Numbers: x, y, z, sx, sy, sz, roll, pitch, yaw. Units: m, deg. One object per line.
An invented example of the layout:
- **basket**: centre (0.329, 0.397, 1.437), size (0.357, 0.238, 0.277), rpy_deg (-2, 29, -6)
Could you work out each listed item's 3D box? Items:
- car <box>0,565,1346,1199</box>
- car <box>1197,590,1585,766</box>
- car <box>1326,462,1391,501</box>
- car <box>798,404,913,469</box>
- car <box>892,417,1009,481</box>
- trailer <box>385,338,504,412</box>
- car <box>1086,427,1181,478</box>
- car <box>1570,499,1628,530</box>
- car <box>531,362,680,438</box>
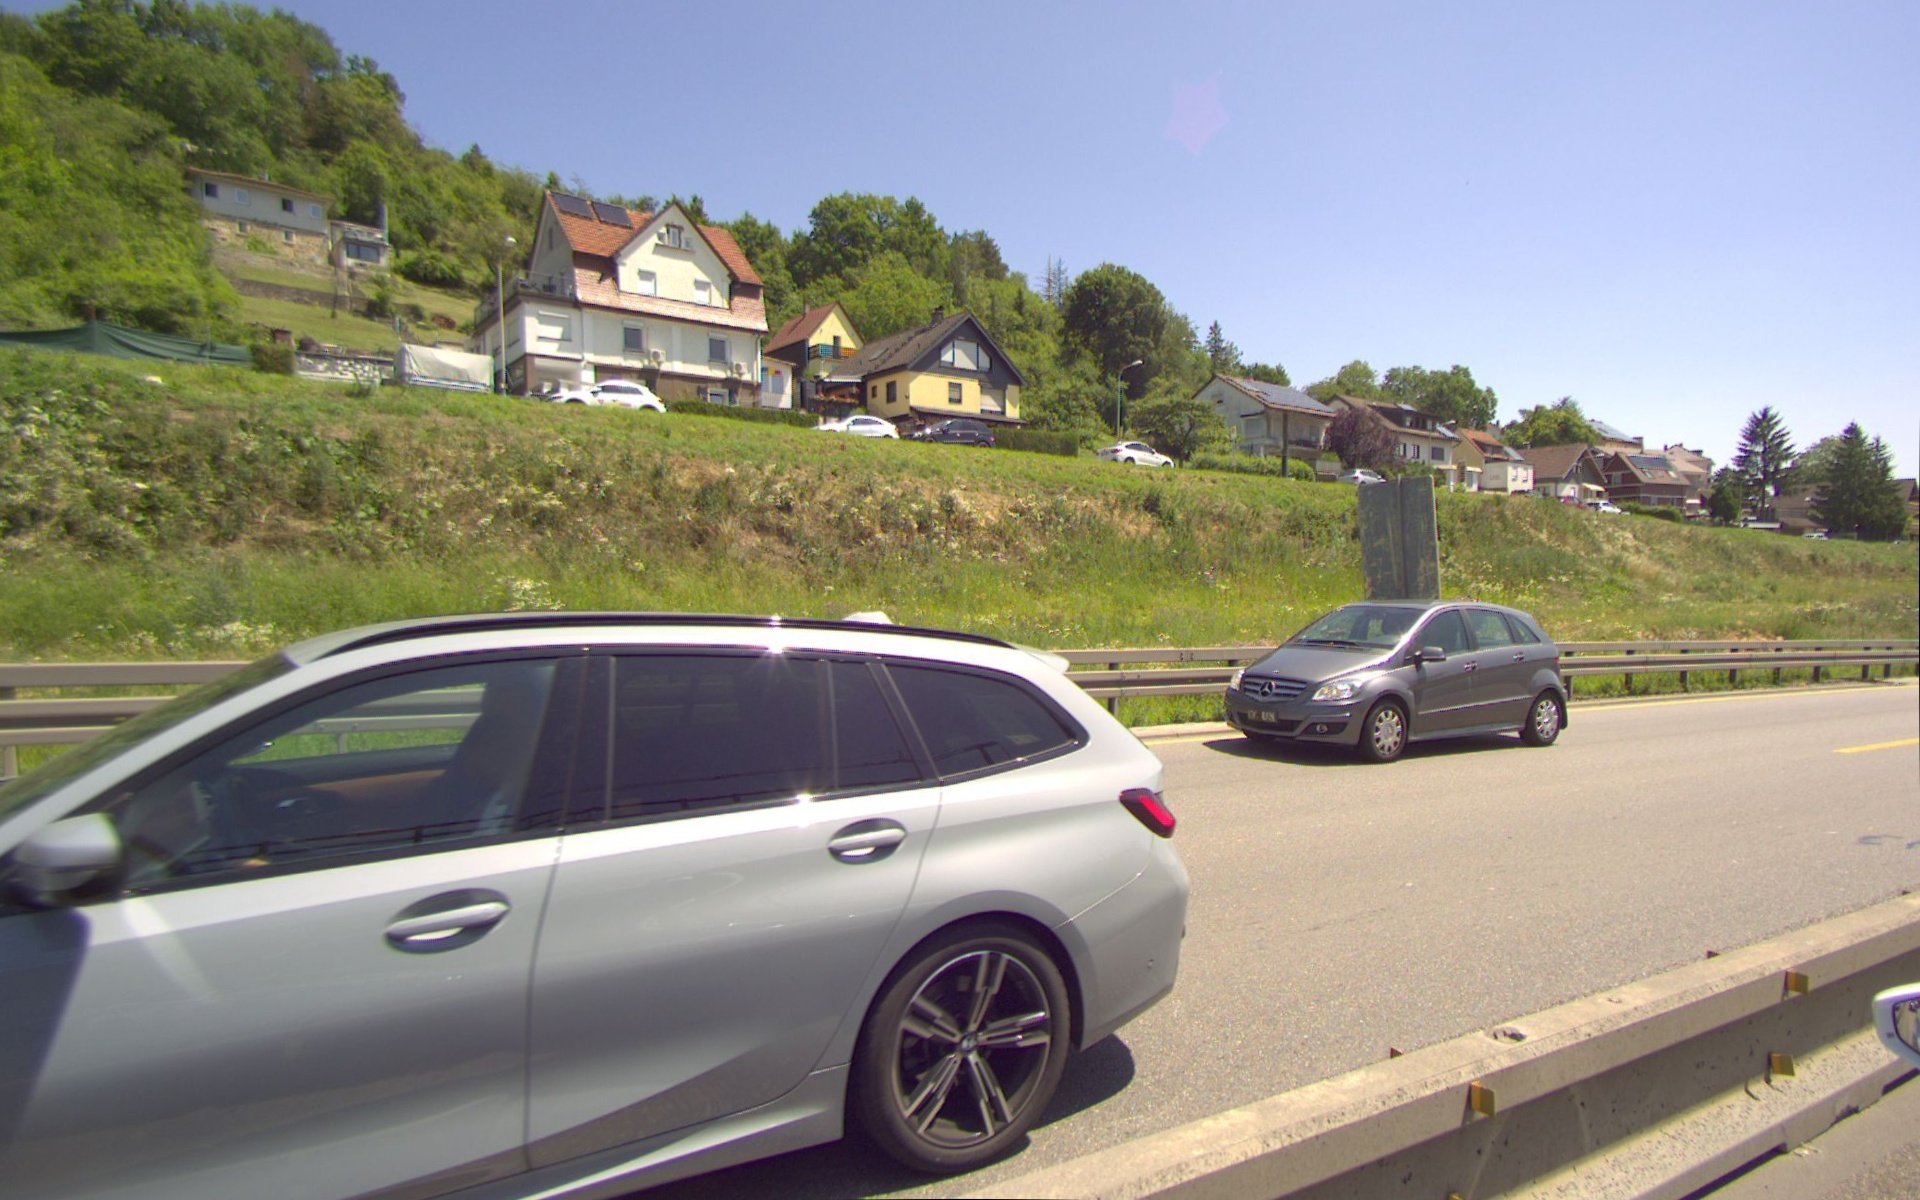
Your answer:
- **car**: centre (-1.165, 0.692, 2.892), size (4.575, 1.452, 1.820), rpy_deg (1, -1, -31)
- **car**: centre (4.832, 0.762, 11.130), size (4.235, 1.603, 1.764), rpy_deg (1, 1, -30)
- **car**: centre (24.926, -7.375, 62.754), size (3.963, 1.817, 1.979), rpy_deg (3, -1, -37)
- **car**: centre (-4.363, -6.795, 42.133), size (4.388, 1.896, 1.980), rpy_deg (2, -1, -36)
- **car**: centre (-0.396, -6.748, 45.337), size (4.924, 2.035, 2.057), rpy_deg (2, -1, -36)
- **trailer**: centre (-16.488, -7.153, 32.181), size (3.014, 1.536, 1.885), rpy_deg (3, -1, -41)
- **car**: centre (9.076, -7.596, 52.232), size (4.966, 1.817, 1.979), rpy_deg (3, -1, -37)
- **car**: centre (53.994, -7.175, 84.839), size (4.767, 2.068, 2.334), rpy_deg (2, -1, -33)
- **car**: centre (-12.478, -6.972, 35.494), size (4.516, 1.678, 1.977), rpy_deg (3, -1, -40)
